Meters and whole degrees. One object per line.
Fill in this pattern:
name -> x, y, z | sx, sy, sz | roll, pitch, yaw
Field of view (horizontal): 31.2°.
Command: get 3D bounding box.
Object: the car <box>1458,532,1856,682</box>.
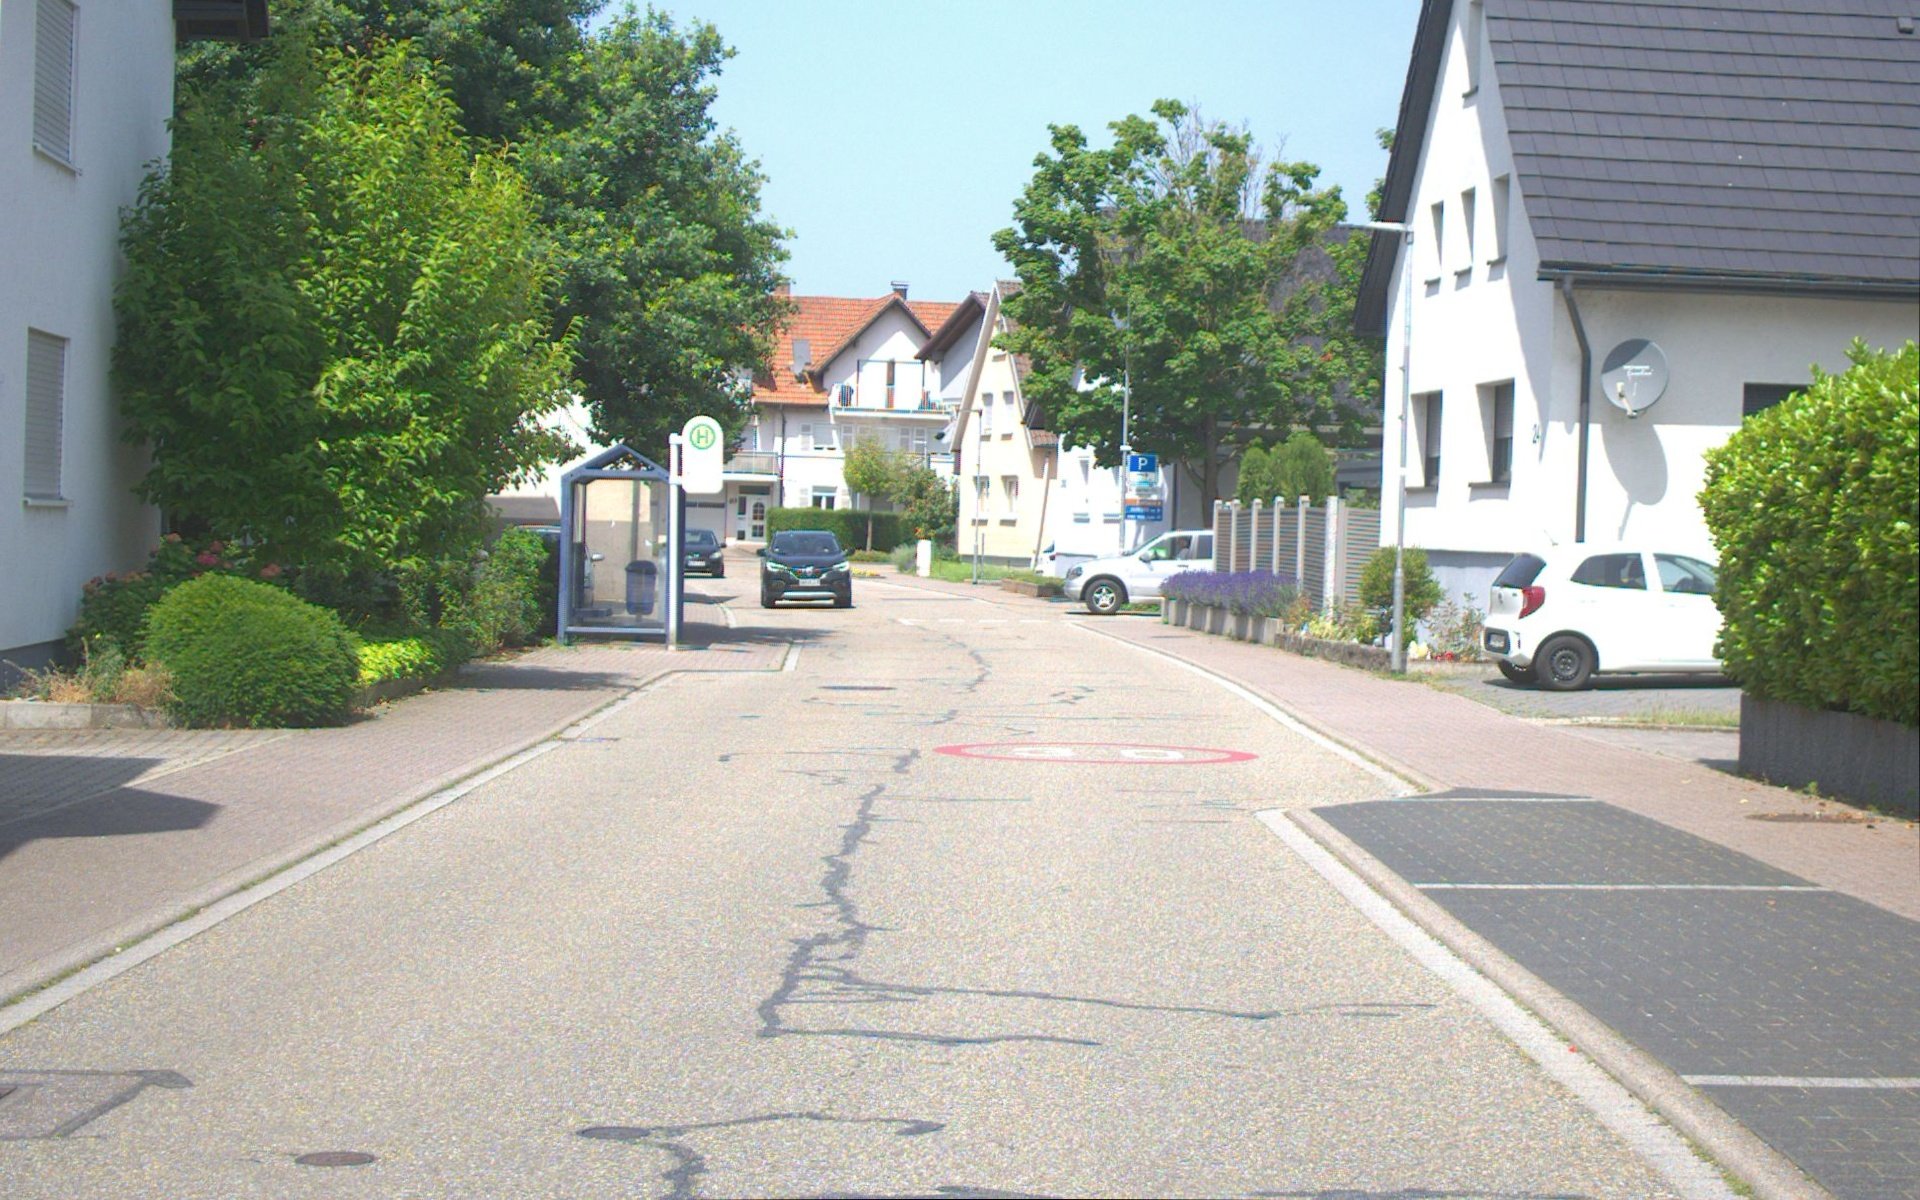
car -> 7.185, 0.052, 35.635 | 3.656, 1.469, 1.766 | 0, 2, -7

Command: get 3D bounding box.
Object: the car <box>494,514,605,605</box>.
car -> -7.025, -0.719, 59.101 | 1.778, 1.430, 4.057 | 2, 2, -6

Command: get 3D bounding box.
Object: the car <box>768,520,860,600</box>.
car -> -3.077, -0.856, 71.847 | 1.776, 1.618, 4.106 | 0, 1, -5

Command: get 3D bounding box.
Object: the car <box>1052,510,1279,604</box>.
car -> 4.041, -0.859, 68.063 | 4.316, 1.761, 1.892 | -1, 1, -1

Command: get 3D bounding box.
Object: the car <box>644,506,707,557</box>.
car -> -8.648, -2.098, 104.330 | 1.626, 1.481, 4.001 | 0, 2, -9

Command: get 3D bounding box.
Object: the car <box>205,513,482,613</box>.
car -> -9.740, -0.607, 54.561 | 4.159, 1.533, 1.774 | 0, 2, -4
